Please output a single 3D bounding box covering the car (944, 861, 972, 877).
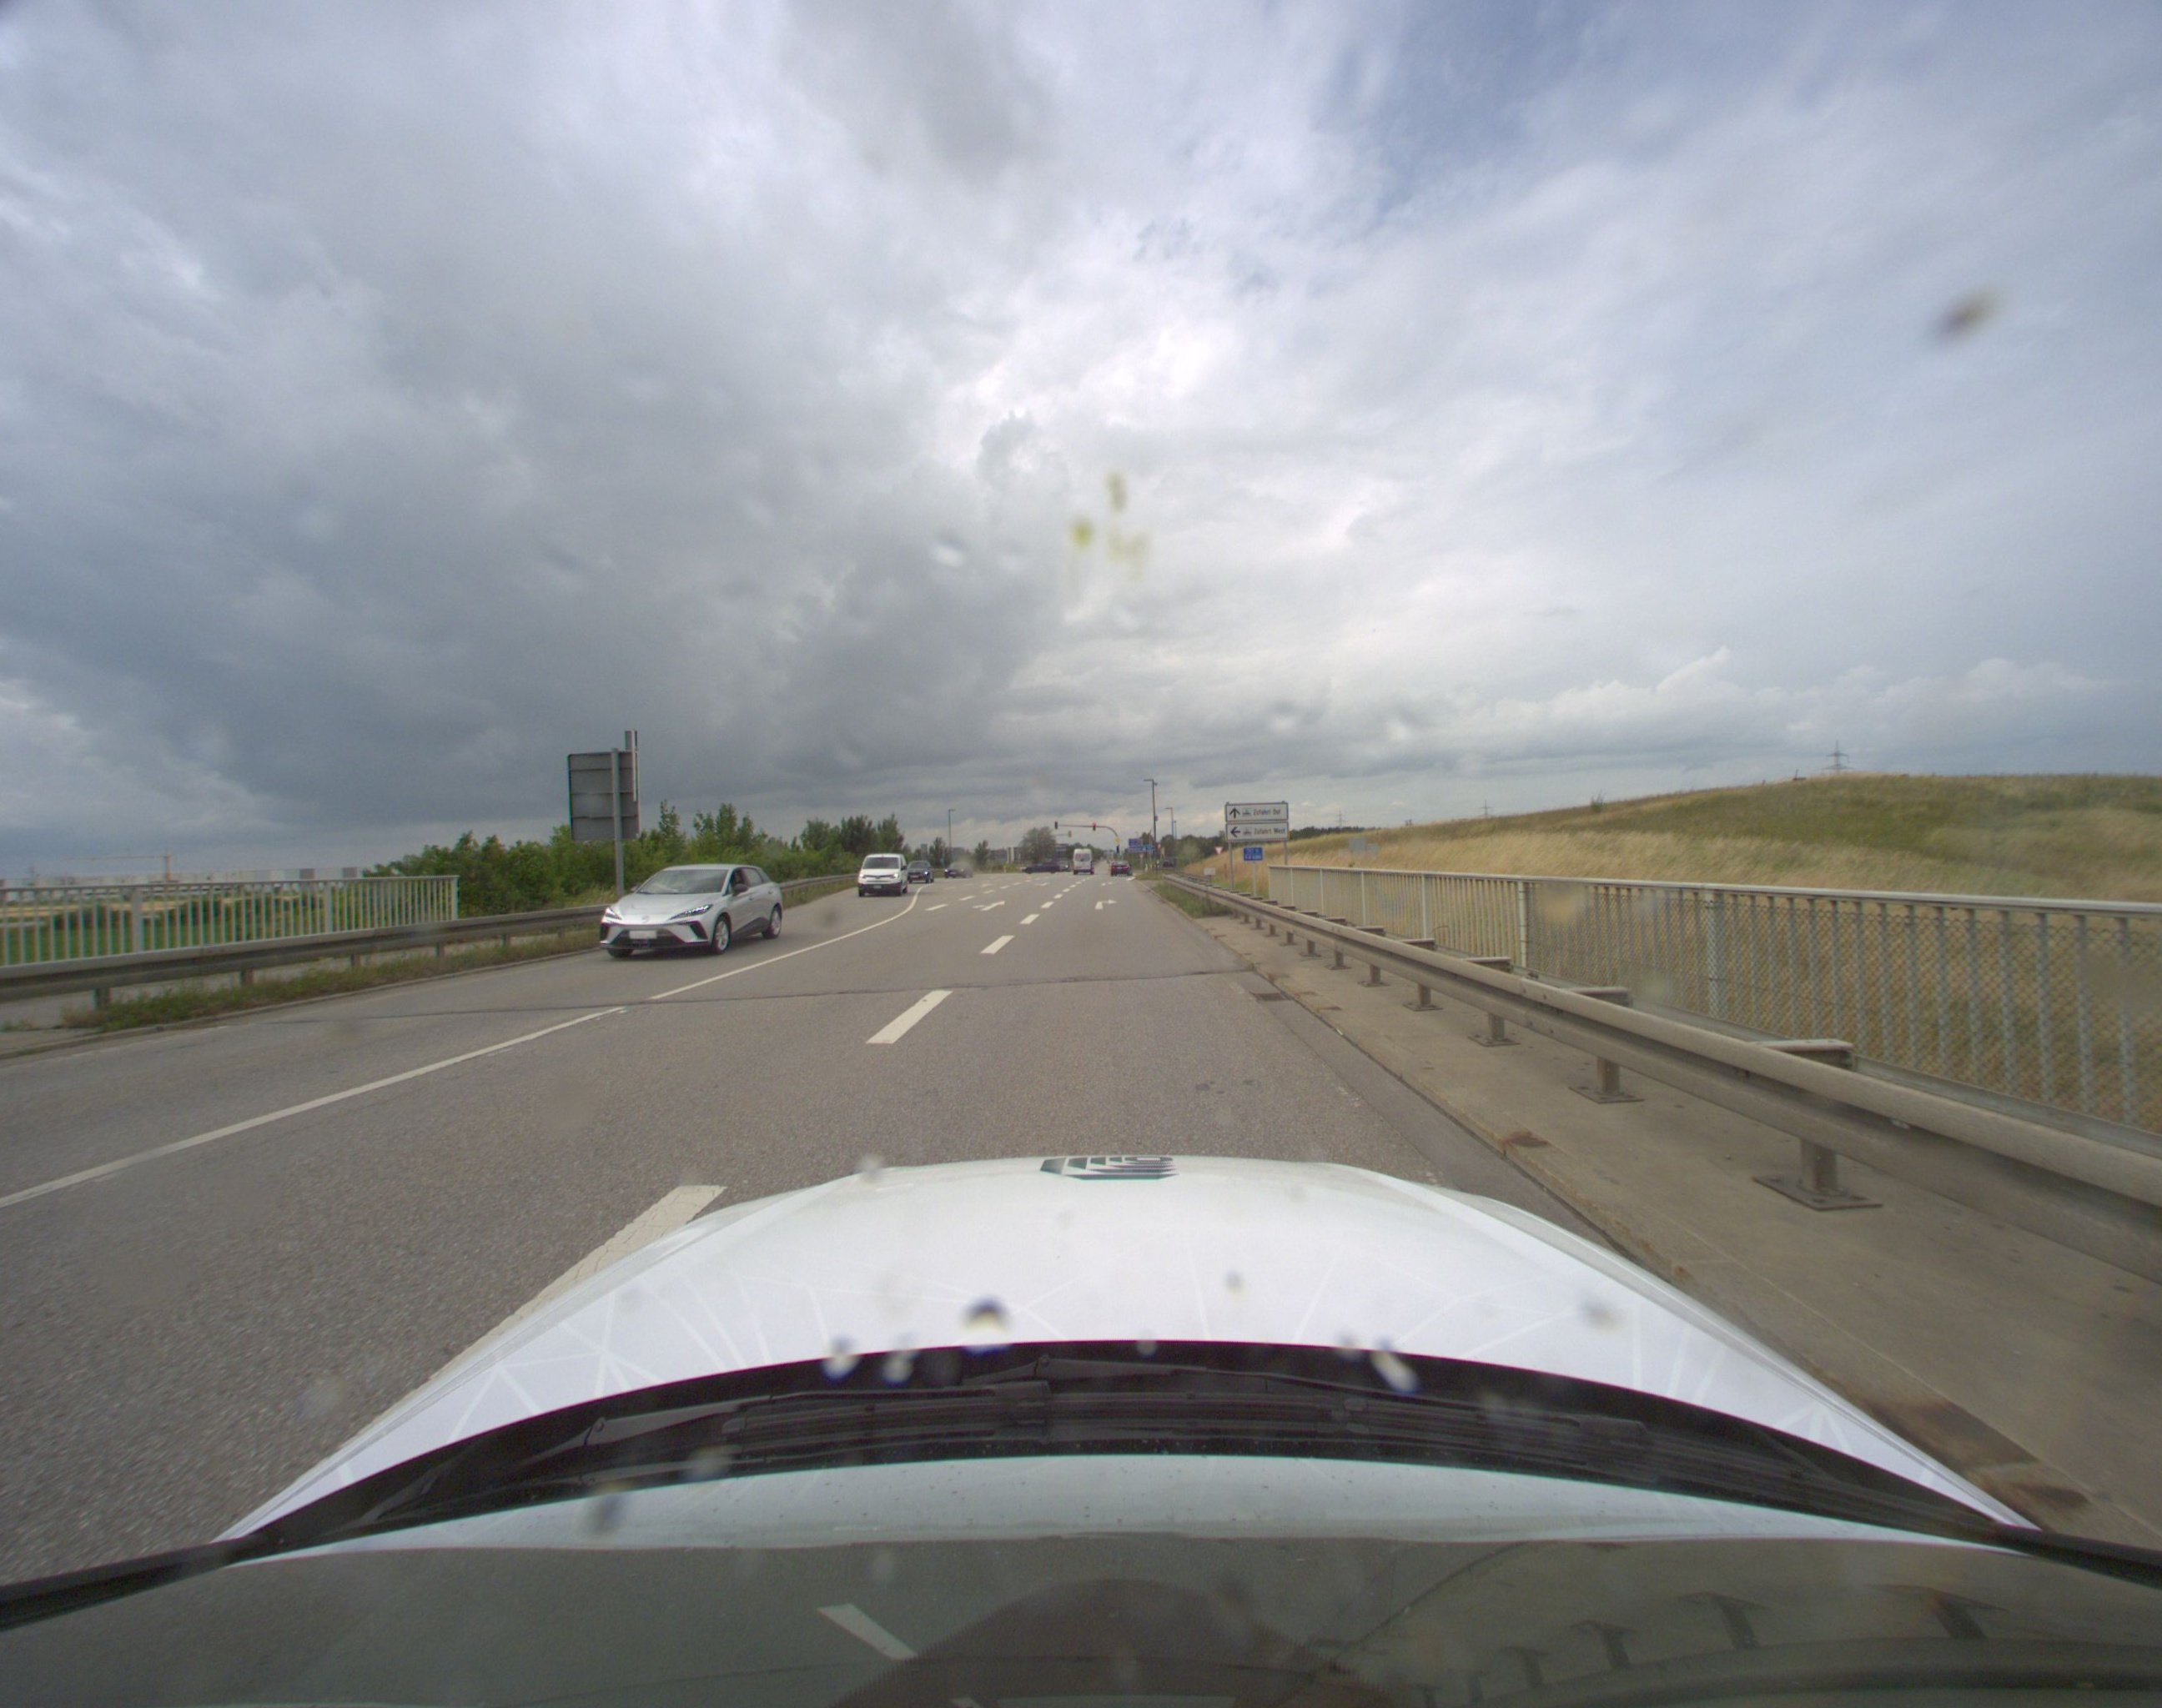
[{"bbox_3d":[-11.043,1.379,73.384,1.803,1.369,4.784,2,-2,0],"label":"car"}]

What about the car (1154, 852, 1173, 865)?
[{"bbox_3d":[10.595,0.586,104.415,1.668,1.544,3.632,-2,-1,18],"label":"car"}]

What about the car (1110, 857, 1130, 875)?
[{"bbox_3d":[3.451,1.037,72.268,1.510,1.485,3.621,-2,-1,6],"label":"car"}]

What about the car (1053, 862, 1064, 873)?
[{"bbox_3d":[-3.889,2.289,142.976,1.631,1.852,3.751,-2,-1,3],"label":"car"}]

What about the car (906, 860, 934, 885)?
[{"bbox_3d":[-10.916,1.231,55.298,1.581,1.557,4.135,0,-1,-7],"label":"car"}]

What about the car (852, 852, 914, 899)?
[{"bbox_3d":[-8.694,0.909,36.087,1.951,1.875,4.811,-1,-1,-6],"label":"car"}]

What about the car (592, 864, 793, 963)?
[{"bbox_3d":[-6.778,0.939,14.763,1.707,1.486,4.275,-1,-1,-3],"label":"car"}]

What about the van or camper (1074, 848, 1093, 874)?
[{"bbox_3d":[0.278,0.706,83.851,1.869,2.581,4.002,0,0,2],"label":"van or camper"}]
